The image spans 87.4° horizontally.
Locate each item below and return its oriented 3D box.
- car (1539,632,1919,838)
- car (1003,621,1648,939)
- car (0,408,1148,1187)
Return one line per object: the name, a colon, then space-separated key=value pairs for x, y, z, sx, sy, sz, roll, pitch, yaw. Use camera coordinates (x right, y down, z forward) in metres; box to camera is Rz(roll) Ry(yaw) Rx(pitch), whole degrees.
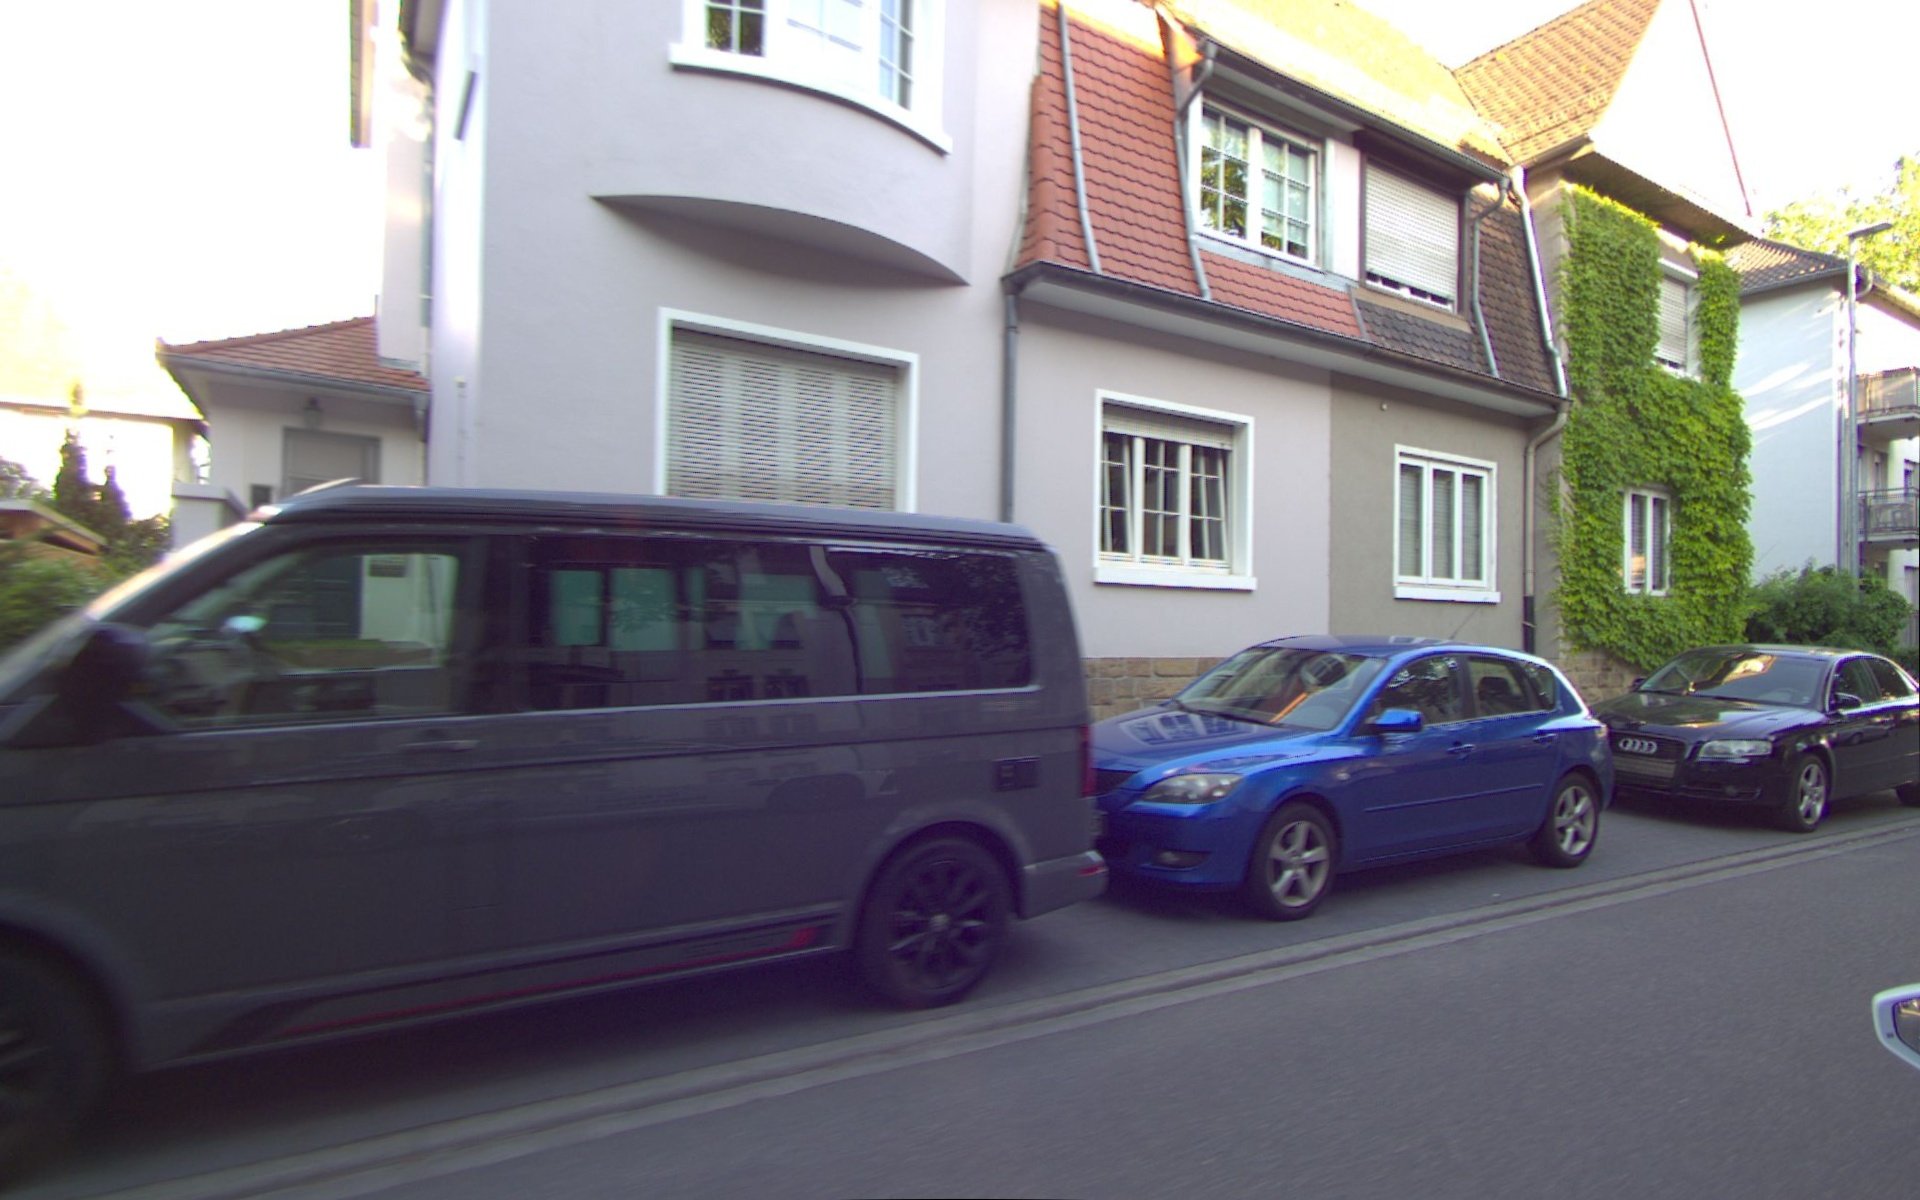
car: x=7.468 y=1.087 z=9.302 sx=4.305 sy=1.466 sz=1.687 roll=2 pitch=0 yaw=-30
car: x=2.506 y=0.943 z=6.613 sx=4.187 sy=1.466 sz=1.646 roll=2 pitch=1 yaw=-30
car: x=-1.740 y=0.524 z=4.093 sx=4.795 sy=1.973 sz=1.972 roll=2 pitch=0 yaw=-31
